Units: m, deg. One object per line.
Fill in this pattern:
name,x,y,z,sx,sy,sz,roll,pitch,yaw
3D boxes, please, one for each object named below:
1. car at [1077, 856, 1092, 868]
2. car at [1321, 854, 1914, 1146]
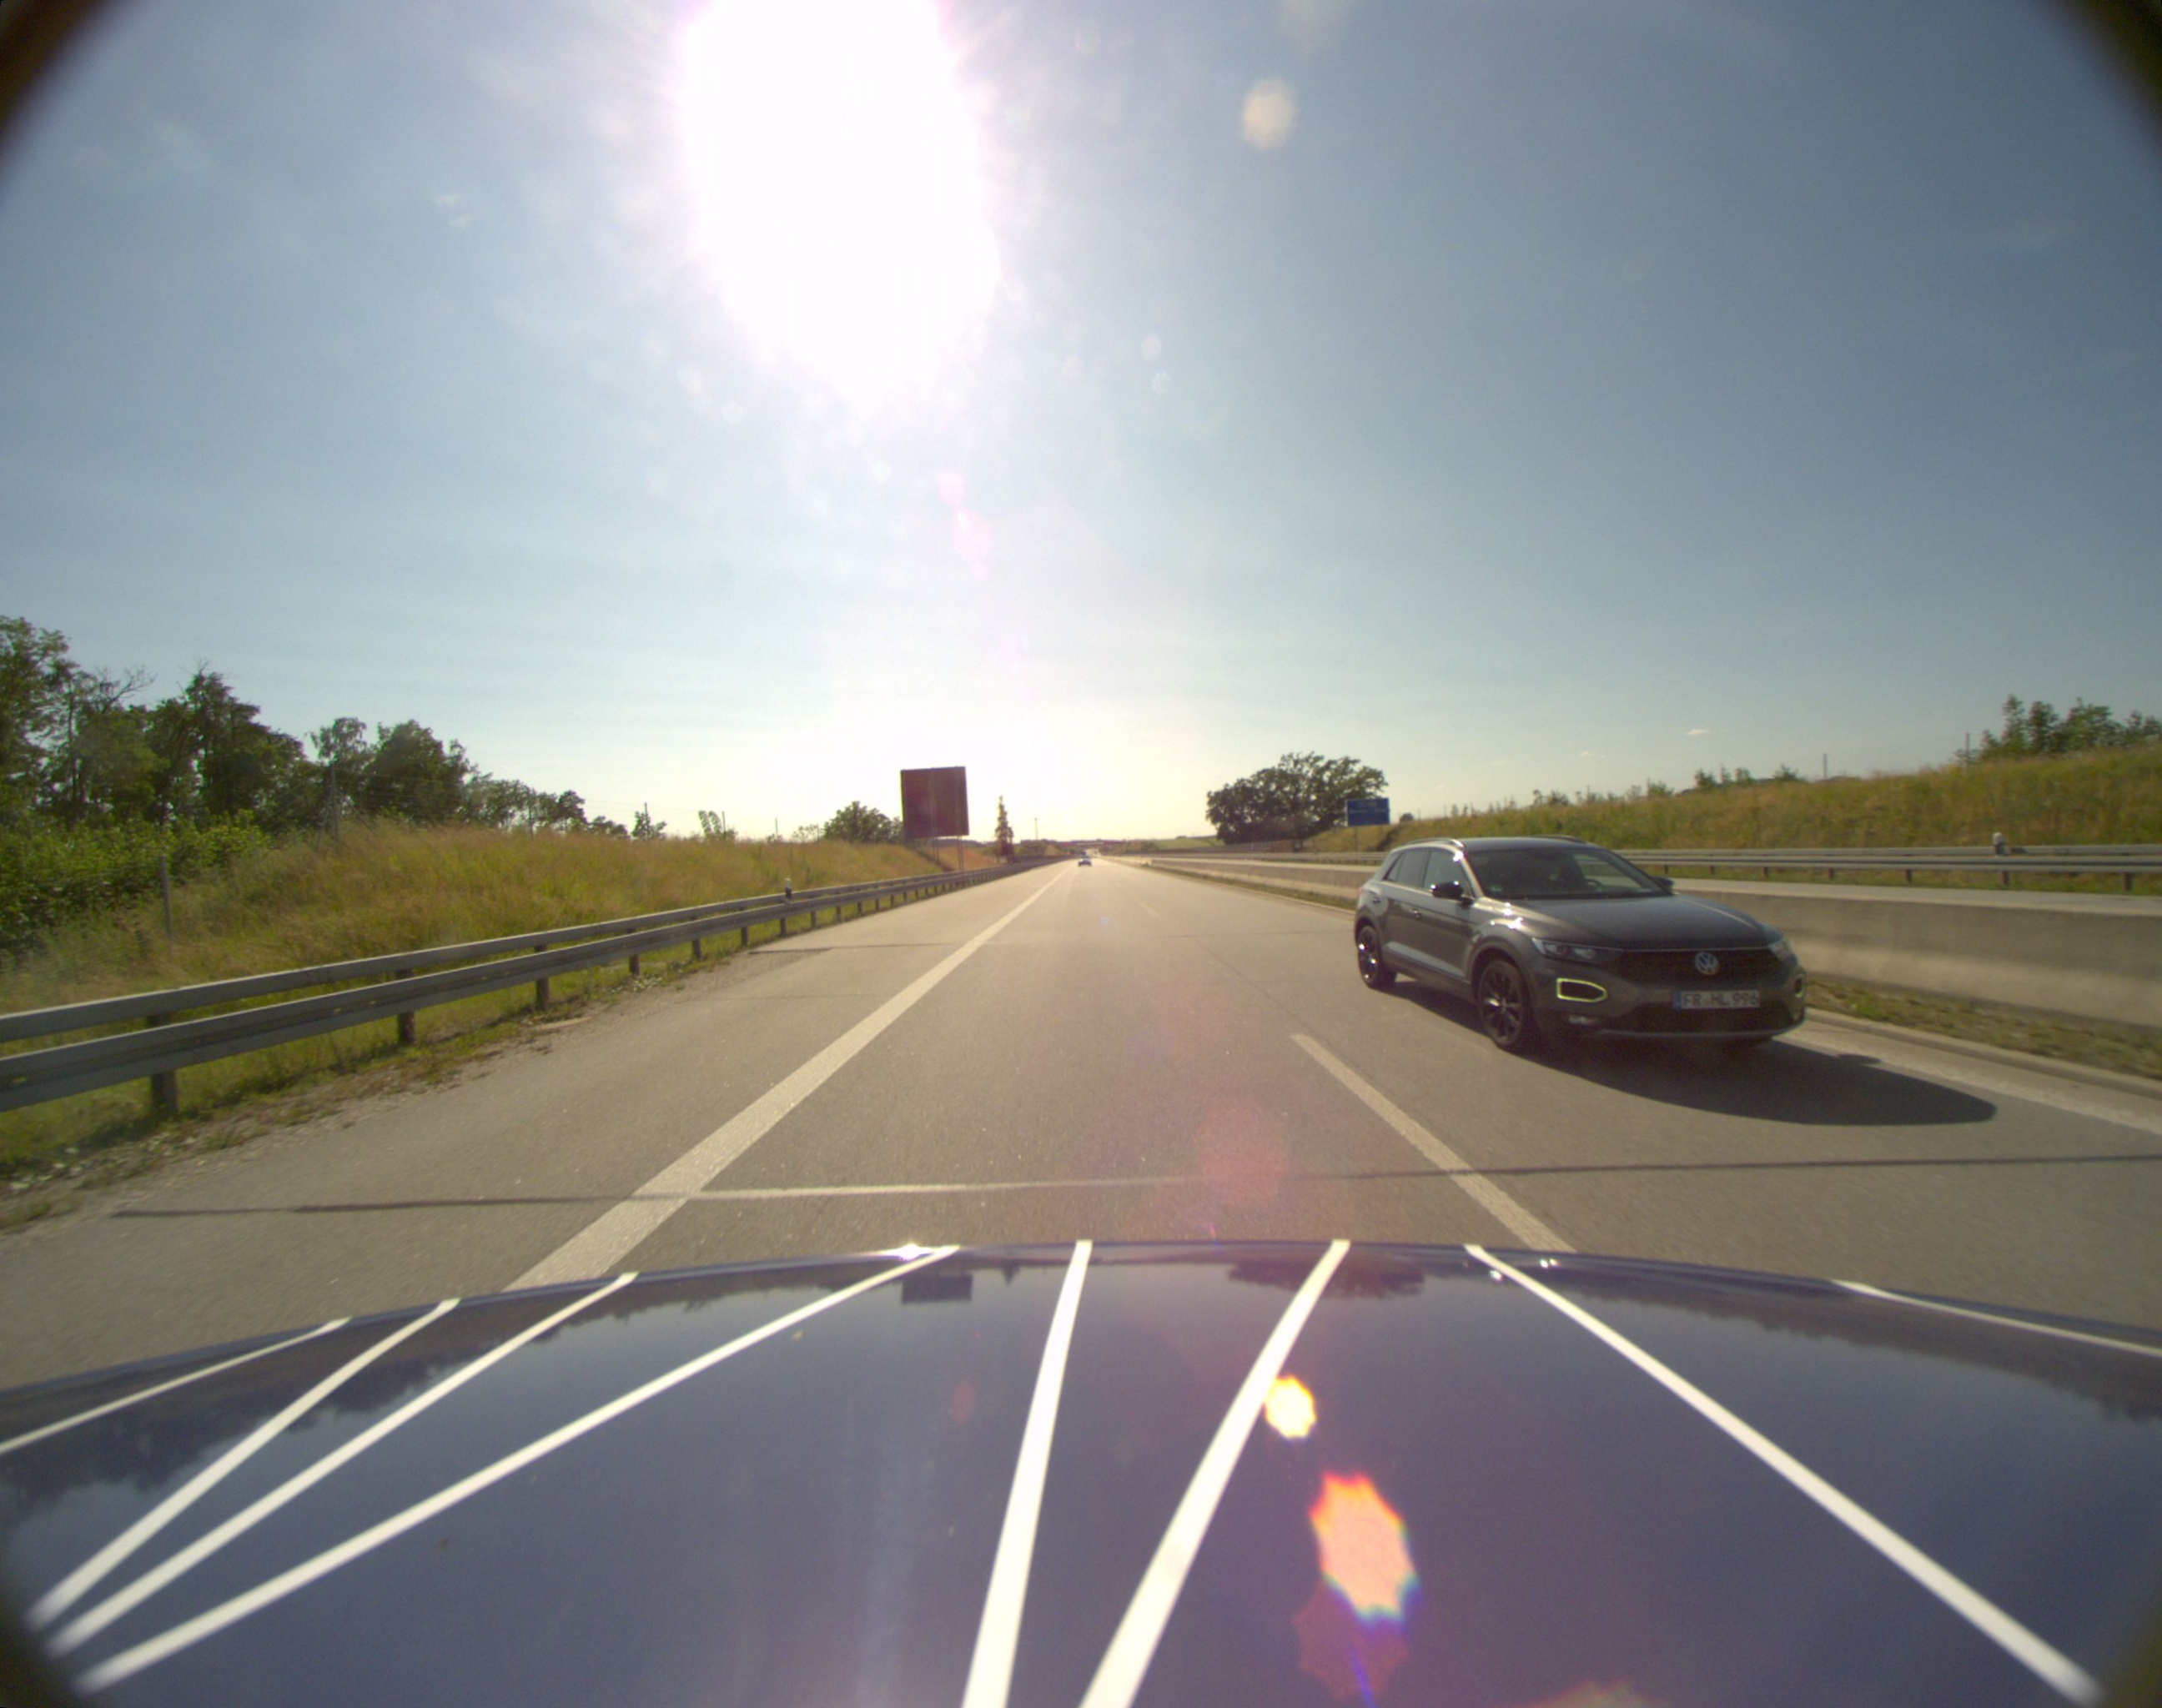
car,0.545,1.101,106.285,1.909,1.449,4.376,-2,0,2
car,3.787,0.821,6.745,1.776,1.560,4.988,-2,0,1
